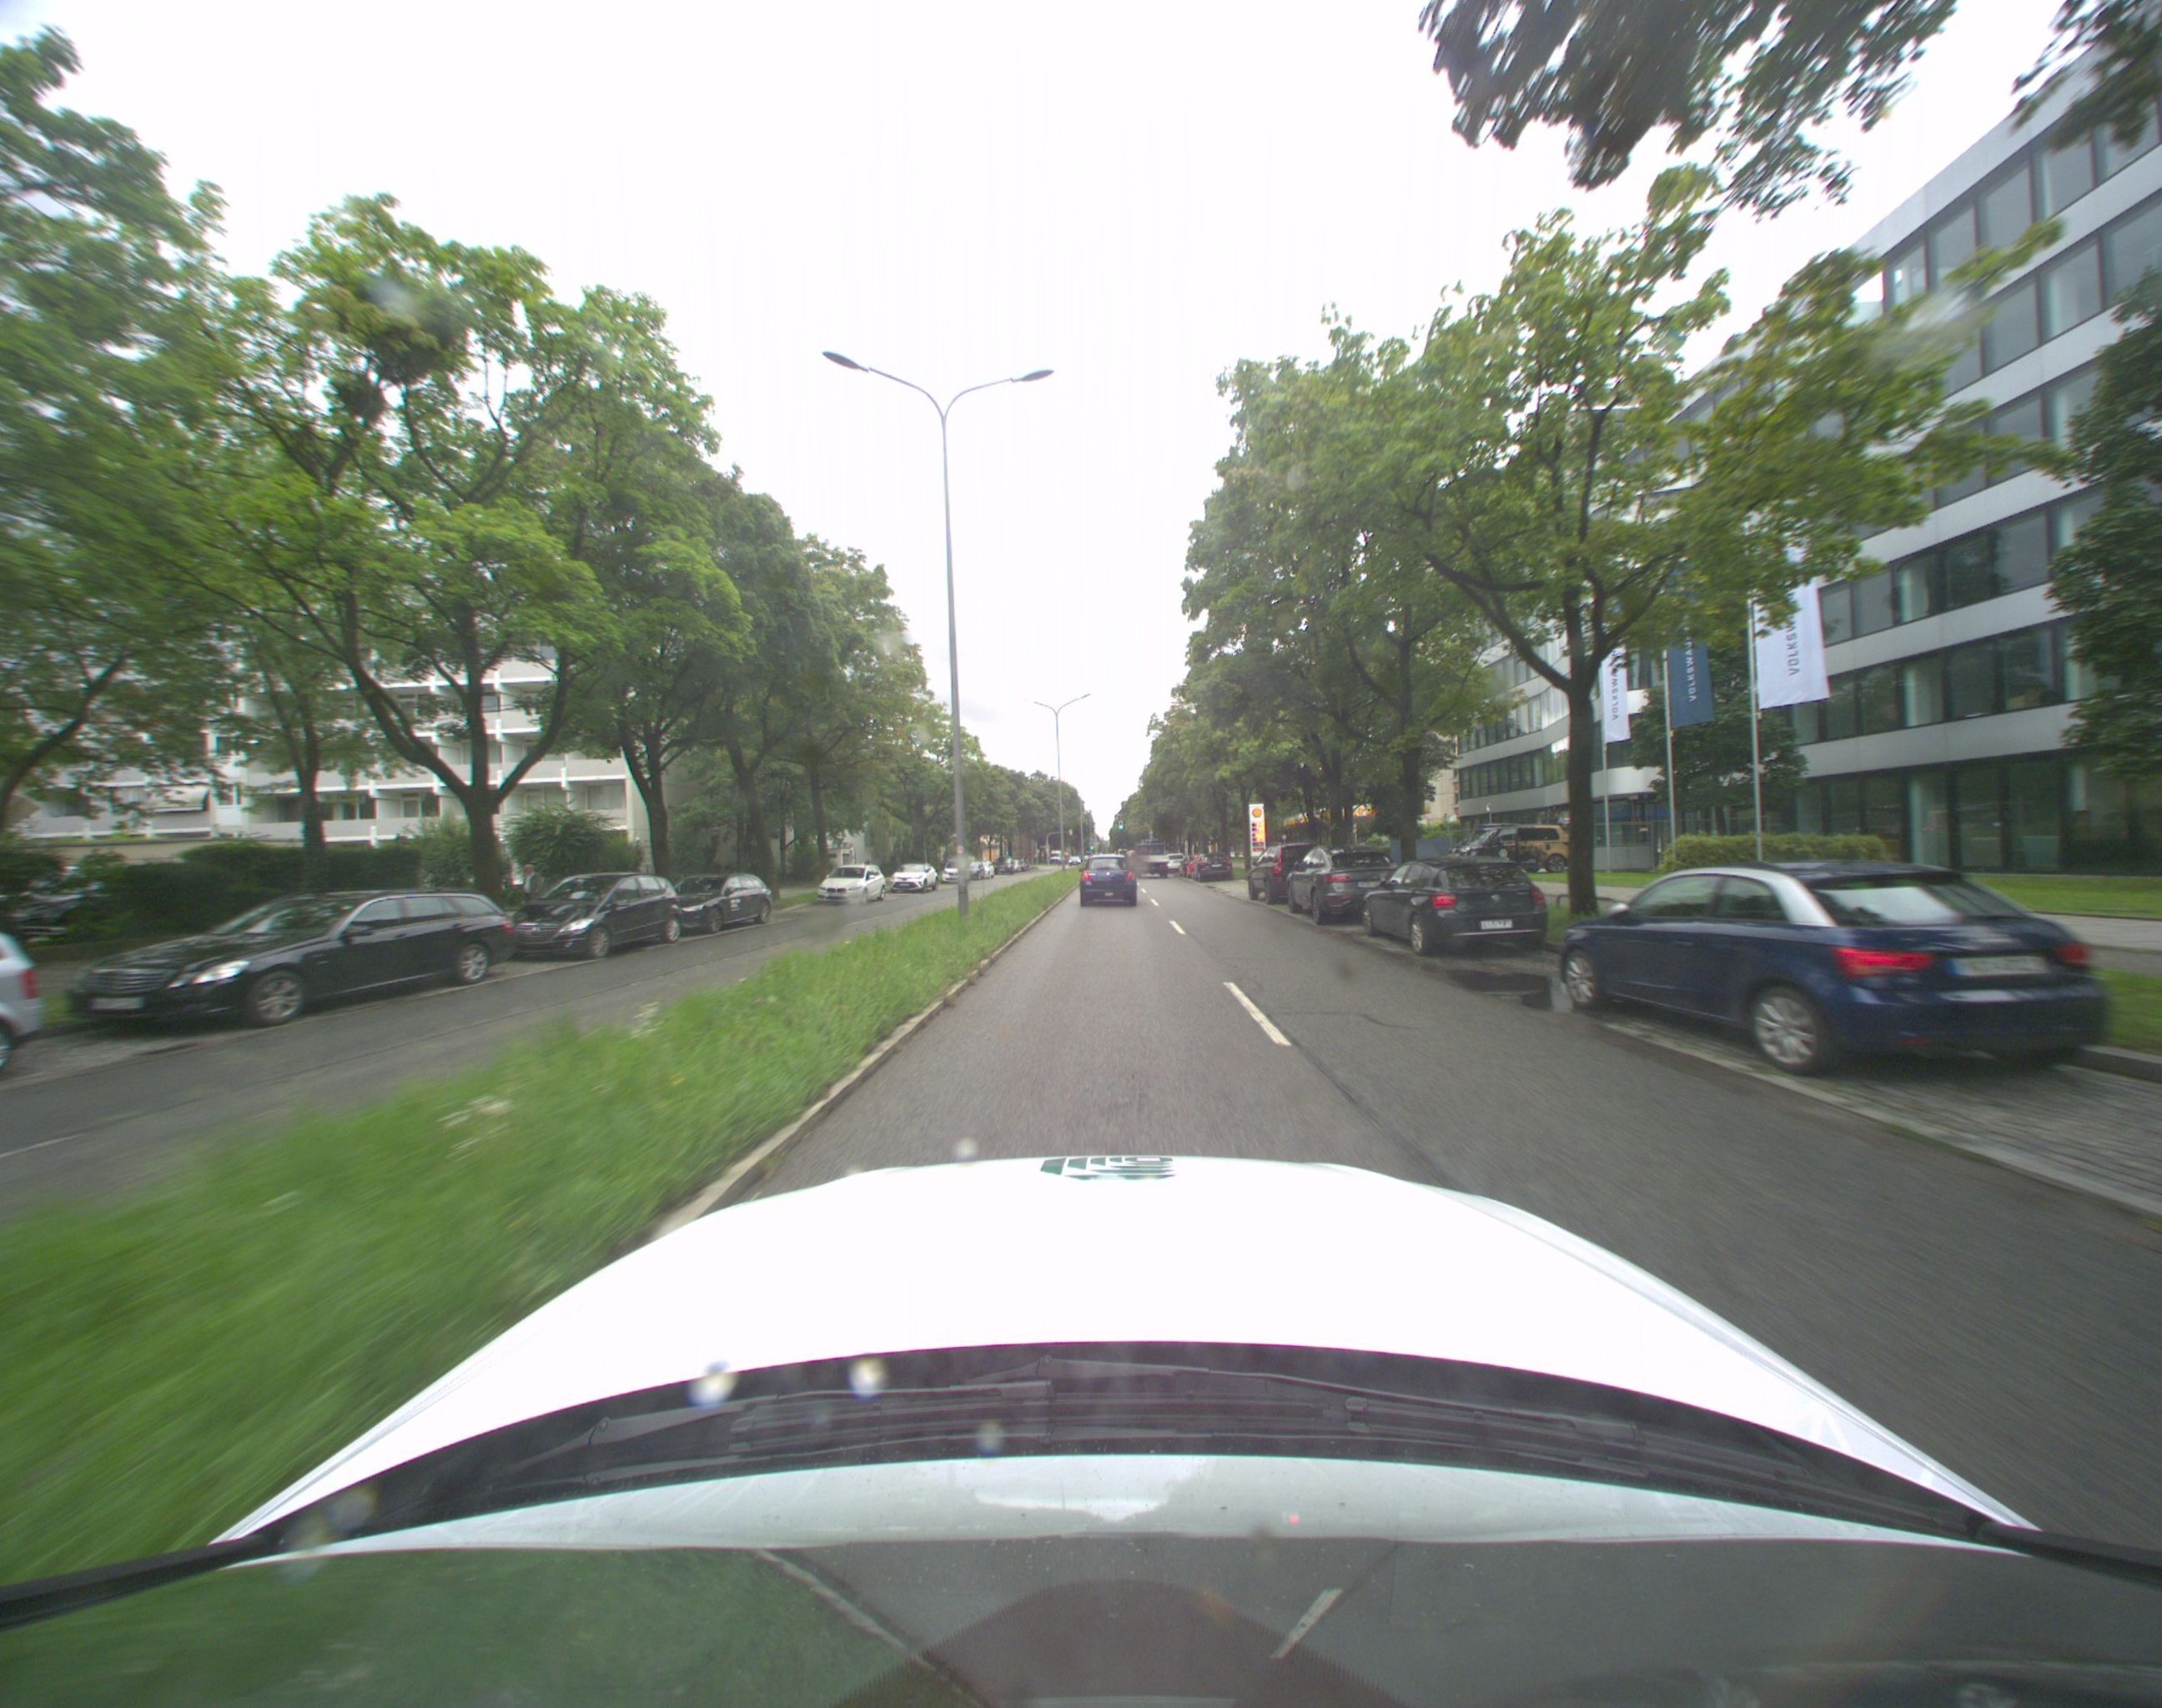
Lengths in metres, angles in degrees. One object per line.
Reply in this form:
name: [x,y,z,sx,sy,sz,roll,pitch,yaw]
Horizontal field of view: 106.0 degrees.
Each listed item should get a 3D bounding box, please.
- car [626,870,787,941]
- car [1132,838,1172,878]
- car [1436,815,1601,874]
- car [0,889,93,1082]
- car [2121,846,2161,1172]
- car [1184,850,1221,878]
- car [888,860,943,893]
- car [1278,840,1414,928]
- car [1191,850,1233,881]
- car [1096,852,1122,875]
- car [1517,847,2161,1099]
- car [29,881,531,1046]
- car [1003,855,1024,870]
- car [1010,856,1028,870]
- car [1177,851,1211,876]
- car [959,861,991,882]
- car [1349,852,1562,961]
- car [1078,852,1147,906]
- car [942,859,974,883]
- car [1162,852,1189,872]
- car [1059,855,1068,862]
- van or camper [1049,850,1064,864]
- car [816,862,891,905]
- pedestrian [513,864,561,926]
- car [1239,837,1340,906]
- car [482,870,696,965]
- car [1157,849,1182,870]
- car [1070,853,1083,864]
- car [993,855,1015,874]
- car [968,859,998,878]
car: [-9.630,1.247,21.461,1.753,1.513,4.951,0,0,3]
car: [4.523,0.239,52.595,2.408,2.444,5.091,-1,0,3]
car: [17.526,-0.376,32.830,5.450,2.083,2.147,-2,0,1]
car: [-10.301,1.166,5.833,1.619,1.647,3.870,1,0,3]
car: [5.549,0.657,1.709,1.695,1.446,3.981,-3,0,2]
car: [7.204,0.561,48.533,1.669,1.501,4.023,-4,0,2]
car: [-8.741,1.167,43.437,1.825,1.609,4.494,0,0,3]
car: [5.913,0.599,18.790,1.805,1.675,4.805,-3,0,4]
car: [7.054,0.578,44.071,1.772,1.511,4.289,-4,0,4]
car: [2.062,0.664,59.382,1.792,1.499,3.661,-2,0,2]
car: [5.611,0.704,6.909,1.695,1.421,4.123,-3,0,2]
car: [-10.073,1.225,11.028,1.710,1.524,5.036,1,0,1]
car: [-7.214,0.897,87.322,1.660,1.445,4.377,1,0,2]
car: [-7.020,0.997,92.840,1.661,1.562,4.298,-2,0,0]
car: [7.291,0.580,52.958,1.669,1.453,4.584,-4,0,2]
car: [-7.987,1.279,61.818,1.668,1.475,4.217,1,0,2]
car: [5.864,0.711,13.400,1.694,1.408,4.518,-3,0,5]
car: [0.891,0.723,25.092,1.891,1.499,3.658,-1,0,-1]
car: [-8.484,1.139,56.377,1.685,1.565,3.079,1,0,0]
car: [7.754,0.629,67.205,1.754,1.453,4.635,-4,0,2]
car: [-3.681,0.979,175.628,1.630,1.442,3.737,-3,0,2]
van or camper: [-4.654,0.583,155.239,2.132,2.476,6.262,-3,0,2]
car: [-9.259,1.162,33.467,1.751,1.595,4.490,0,0,1]
pedestrian: [-15.005,1.125,22.474,0.847,1.656,0.607,-2,0,-5]
car: [6.217,0.475,24.835,1.886,1.800,4.863,-3,0,2]
car: [-9.816,1.180,16.709,1.679,1.597,4.213,0,0,3]
car: [7.880,0.454,72.769,1.754,1.698,5.232,-4,0,2]
car: [-0.620,0.688,119.909,1.732,1.440,4.217,-3,0,2]
car: [-7.578,0.995,80.318,1.791,1.763,5.054,1,0,-2]
car: [-8.012,1.162,66.896,1.668,1.443,4.323,1,0,3]
